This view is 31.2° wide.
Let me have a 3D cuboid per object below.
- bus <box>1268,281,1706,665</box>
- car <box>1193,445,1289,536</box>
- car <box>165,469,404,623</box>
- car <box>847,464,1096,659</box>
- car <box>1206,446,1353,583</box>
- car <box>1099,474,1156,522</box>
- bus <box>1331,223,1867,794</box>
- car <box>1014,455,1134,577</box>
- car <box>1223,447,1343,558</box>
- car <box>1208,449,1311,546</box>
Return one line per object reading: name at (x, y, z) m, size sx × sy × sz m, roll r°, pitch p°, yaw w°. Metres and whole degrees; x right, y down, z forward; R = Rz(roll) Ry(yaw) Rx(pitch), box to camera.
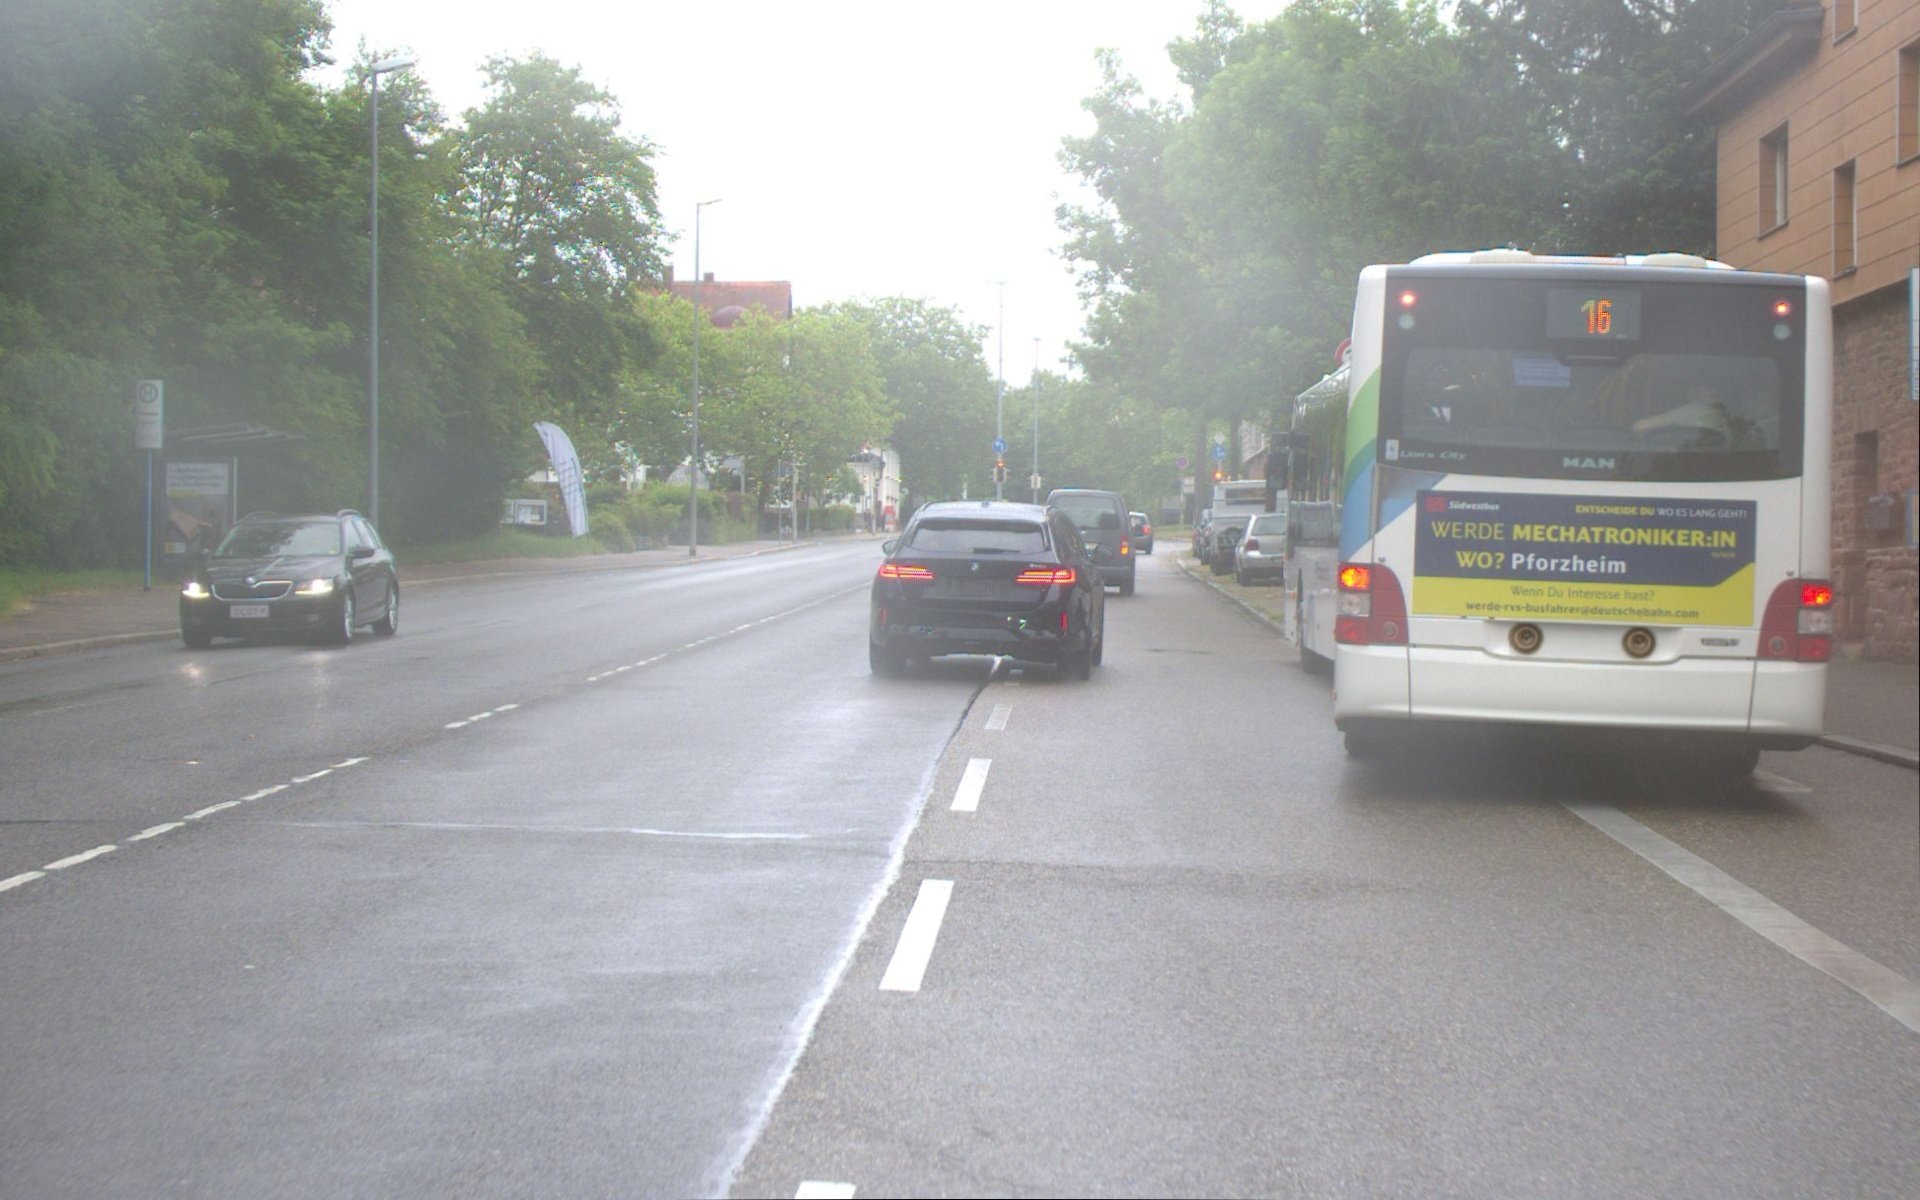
bus at (4.333, -1.203, 30.349) m, size 2.623 × 2.837 × 9.795 m, roll 0°, pitch 3°, yaw 2°
car at (6.711, -2.646, 82.457) m, size 1.993 × 2.006 × 4.001 m, roll 1°, pitch 4°, yaw 1°
car at (-7.356, -0.636, 37.800) m, size 1.770 × 1.527 × 4.001 m, roll 0°, pitch 3°, yaw 1°
car at (0.141, -0.399, 30.640) m, size 1.993 × 1.448 × 4.001 m, roll 4°, pitch 3°, yaw 1°
car at (5.077, -1.410, 55.123) m, size 1.993 × 2.006 × 4.001 m, roll 1°, pitch 4°, yaw 1°
car at (5.893, -3.600, 121.366) m, size 1.865 × 1.513 × 4.001 m, roll 1°, pitch 4°, yaw 1°
bus at (3.728, -0.683, 21.350) m, size 2.624 × 2.837 × 8.287 m, roll 0°, pitch 3°, yaw 8°
car at (2.035, -1.528, 61.064) m, size 1.994 × 2.006 × 4.000 m, roll 2°, pitch 3°, yaw 2°
car at (6.345, -1.949, 67.861) m, size 1.993 × 2.006 × 4.001 m, roll 1°, pitch 4°, yaw 1°
car at (6.745, -2.353, 77.831) m, size 1.993 × 2.006 × 4.001 m, roll 1°, pitch 4°, yaw 1°
